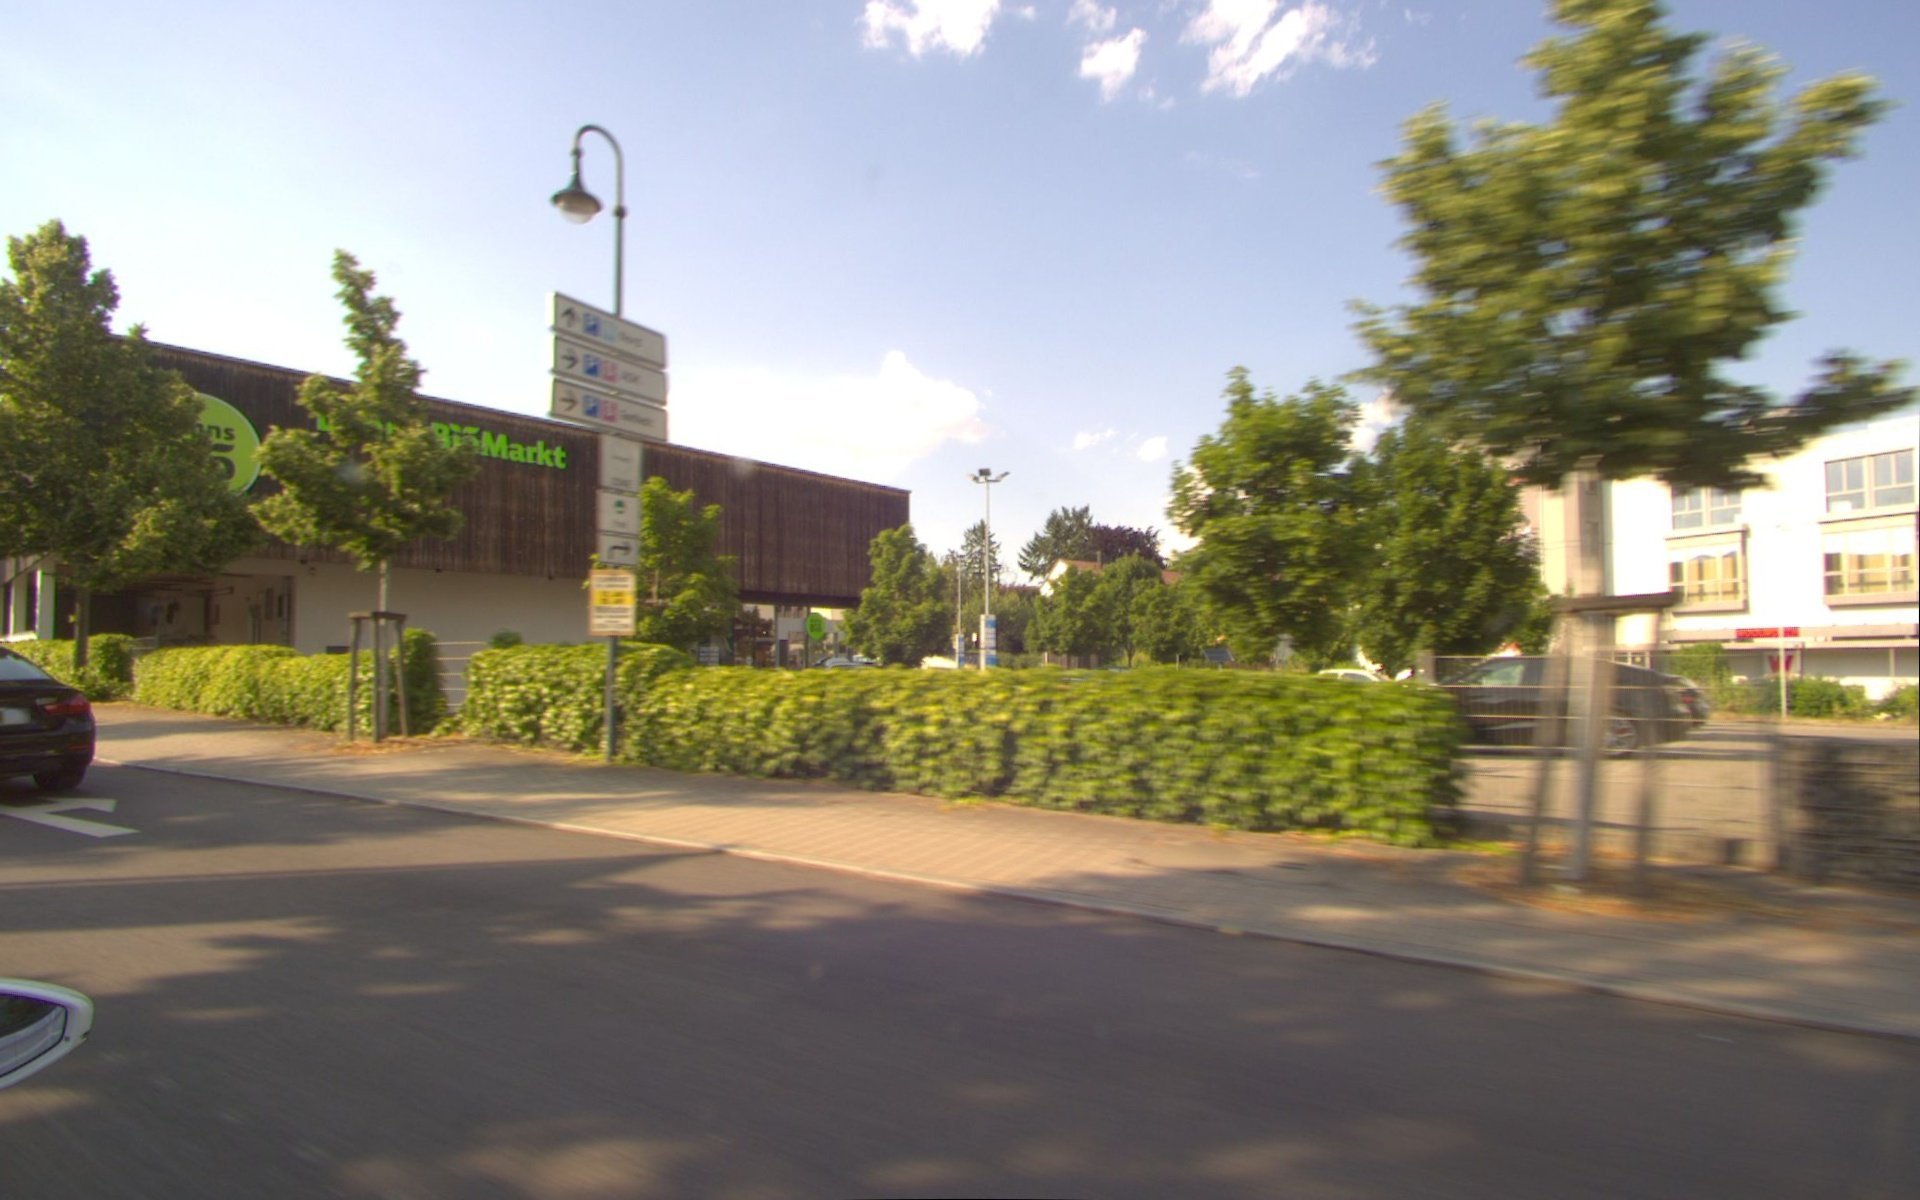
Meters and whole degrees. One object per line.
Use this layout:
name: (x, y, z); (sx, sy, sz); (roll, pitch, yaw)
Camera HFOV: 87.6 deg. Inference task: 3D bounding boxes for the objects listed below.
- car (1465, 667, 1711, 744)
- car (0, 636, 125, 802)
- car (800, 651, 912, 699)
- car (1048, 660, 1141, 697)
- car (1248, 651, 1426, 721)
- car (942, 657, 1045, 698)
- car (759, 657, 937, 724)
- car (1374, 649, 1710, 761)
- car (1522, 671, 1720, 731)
car: (13.903, 2.269, 22.352); (4.488, 1.461, 1.989); (-1, -4, 35)
car: (-9.907, 1.031, 9.338); (4.288, 1.381, 1.918); (-1, -2, 30)
car: (-3.958, 2.783, 37.746); (3.951, 1.648, 1.987); (-2, -3, 39)
car: (6.395, 3.709, 47.775); (3.951, 1.648, 1.987); (-2, -3, 39)
car: (10.491, 2.377, 28.005); (4.266, 1.743, 1.882); (-1, -6, 41)
car: (1.382, 3.235, 42.286); (3.951, 1.570, 1.987); (-2, -3, 39)
car: (-2.991, 2.321, 26.416); (4.488, 1.558, 1.989); (-1, -4, 35)
car: (9.339, 1.638, 16.293); (4.488, 1.550, 1.990); (-1, -5, 35)
car: (18.398, 2.764, 28.024); (4.488, 1.461, 1.868); (-1, -4, 35)
